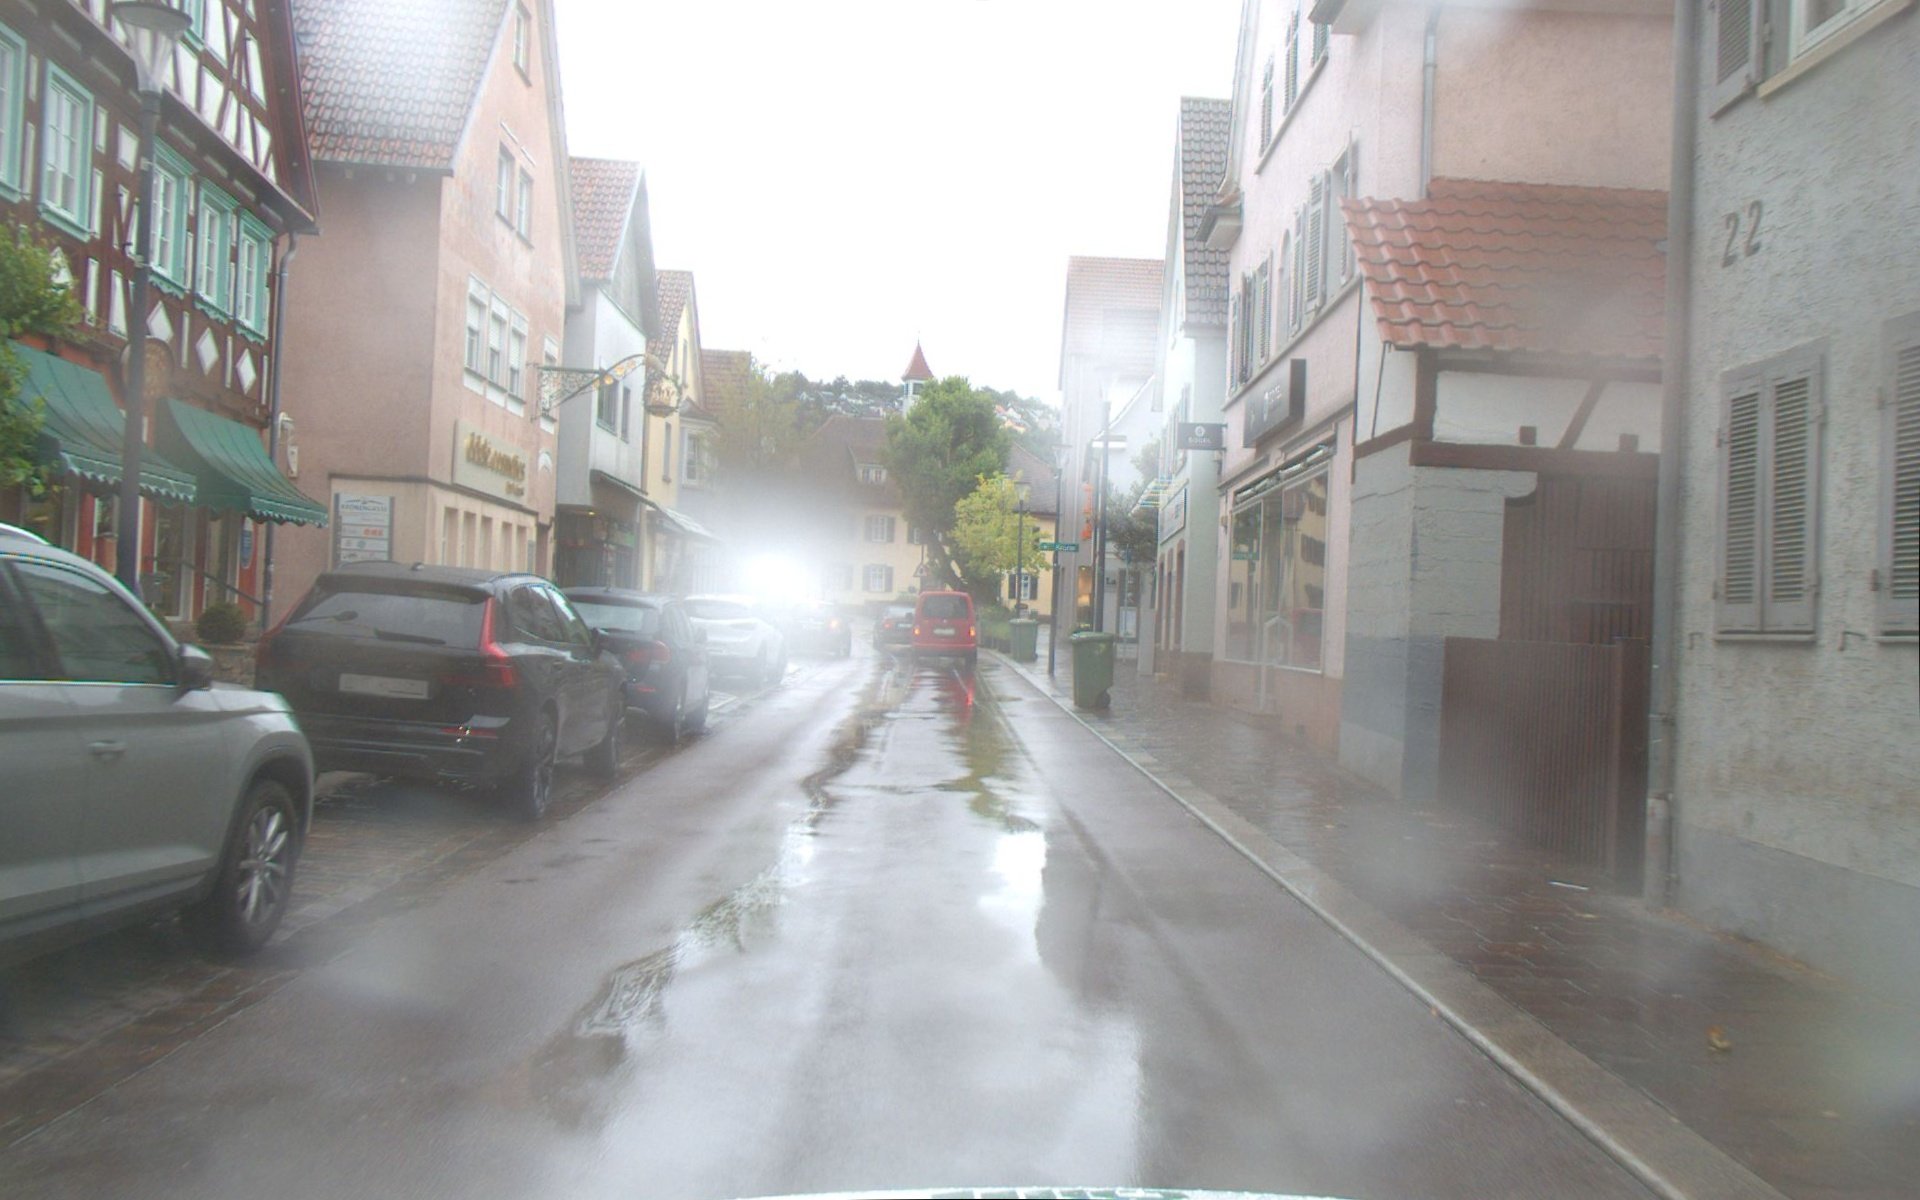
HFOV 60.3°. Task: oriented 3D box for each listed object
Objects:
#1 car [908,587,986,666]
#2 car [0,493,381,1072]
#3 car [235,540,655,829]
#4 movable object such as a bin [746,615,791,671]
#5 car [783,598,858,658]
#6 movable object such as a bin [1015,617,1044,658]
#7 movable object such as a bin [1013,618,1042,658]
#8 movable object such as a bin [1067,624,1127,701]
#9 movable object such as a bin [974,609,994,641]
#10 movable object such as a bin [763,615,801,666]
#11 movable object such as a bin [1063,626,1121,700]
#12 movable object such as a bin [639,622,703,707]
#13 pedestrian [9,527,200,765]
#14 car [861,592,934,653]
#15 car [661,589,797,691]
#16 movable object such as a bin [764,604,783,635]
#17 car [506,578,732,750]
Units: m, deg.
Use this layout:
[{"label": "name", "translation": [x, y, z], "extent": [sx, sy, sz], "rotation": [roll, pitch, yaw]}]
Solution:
[{"label": "car", "translation": [-0.328, 0.647, 43.743], "extent": [1.856, 1.842, 4.000], "rotation": [4, 0, 0]}, {"label": "car", "translation": [-3.678, 0.511, 5.474], "extent": [1.787, 1.695, 4.641], "rotation": [3, -2, 0]}, {"label": "car", "translation": [-3.616, 0.493, 12.584], "extent": [1.787, 1.695, 4.641], "rotation": [3, 1, -2]}, {"label": "movable object such as a bin", "translation": [-3.983, 0.886, 34.367], "extent": [0.770, 1.103, 0.693], "rotation": [4, 0, 2]}, {"label": "car", "translation": [-3.804, 0.740, 45.643], "extent": [1.657, 1.468, 3.884], "rotation": [3, 0, 0]}, {"label": "movable object such as a bin", "translation": [1.947, 1.064, 46.353], "extent": [0.752, 1.098, 0.599], "rotation": [3, -2, 0]}, {"label": "movable object such as a bin", "translation": [1.917, 1.085, 47.044], "extent": [0.739, 1.082, 0.600], "rotation": [3, -2, 0]}, {"label": "movable object such as a bin", "translation": [2.038, 0.923, 24.640], "extent": [0.777, 1.099, 0.614], "rotation": [2, -2, -4]}, {"label": "movable object such as a bin", "translation": [0.883, 0.921, 60.953], "extent": [0.620, 1.170, 0.578], "rotation": [3, -2, -8]}, {"label": "movable object such as a bin", "translation": [-3.961, 0.905, 36.830], "extent": [0.694, 1.071, 0.704], "rotation": [3, -2, 0]}, {"label": "movable object such as a bin", "translation": [2.011, 0.960, 25.259], "extent": [0.780, 1.099, 0.582], "rotation": [2, -2, -4]}, {"label": "movable object such as a bin", "translation": [-3.956, 0.880, 22.666], "extent": [0.754, 1.101, 0.675], "rotation": [3, -2, -5]}, {"label": "pedestrian", "translation": [-6.568, 0.353, 12.769], "extent": [0.772, 1.711, 1.176], "rotation": [3, -2, -2]}, {"label": "car", "translation": [-2.106, 0.760, 54.944], "extent": [1.956, 1.831, 3.992], "rotation": [3, -2, -8]}, {"label": "car", "translation": [-3.998, 0.641, 29.196], "extent": [1.657, 1.565, 4.121], "rotation": [4, 0, 1]}, {"label": "movable object such as a bin", "translation": [-7.006, 0.734, 62.174], "extent": [0.647, 1.129, 0.614], "rotation": [3, -2, -8]}, {"label": "car", "translation": [-3.648, 0.605, 18.423], "extent": [1.745, 1.565, 4.287], "rotation": [4, 1, -3]}]
